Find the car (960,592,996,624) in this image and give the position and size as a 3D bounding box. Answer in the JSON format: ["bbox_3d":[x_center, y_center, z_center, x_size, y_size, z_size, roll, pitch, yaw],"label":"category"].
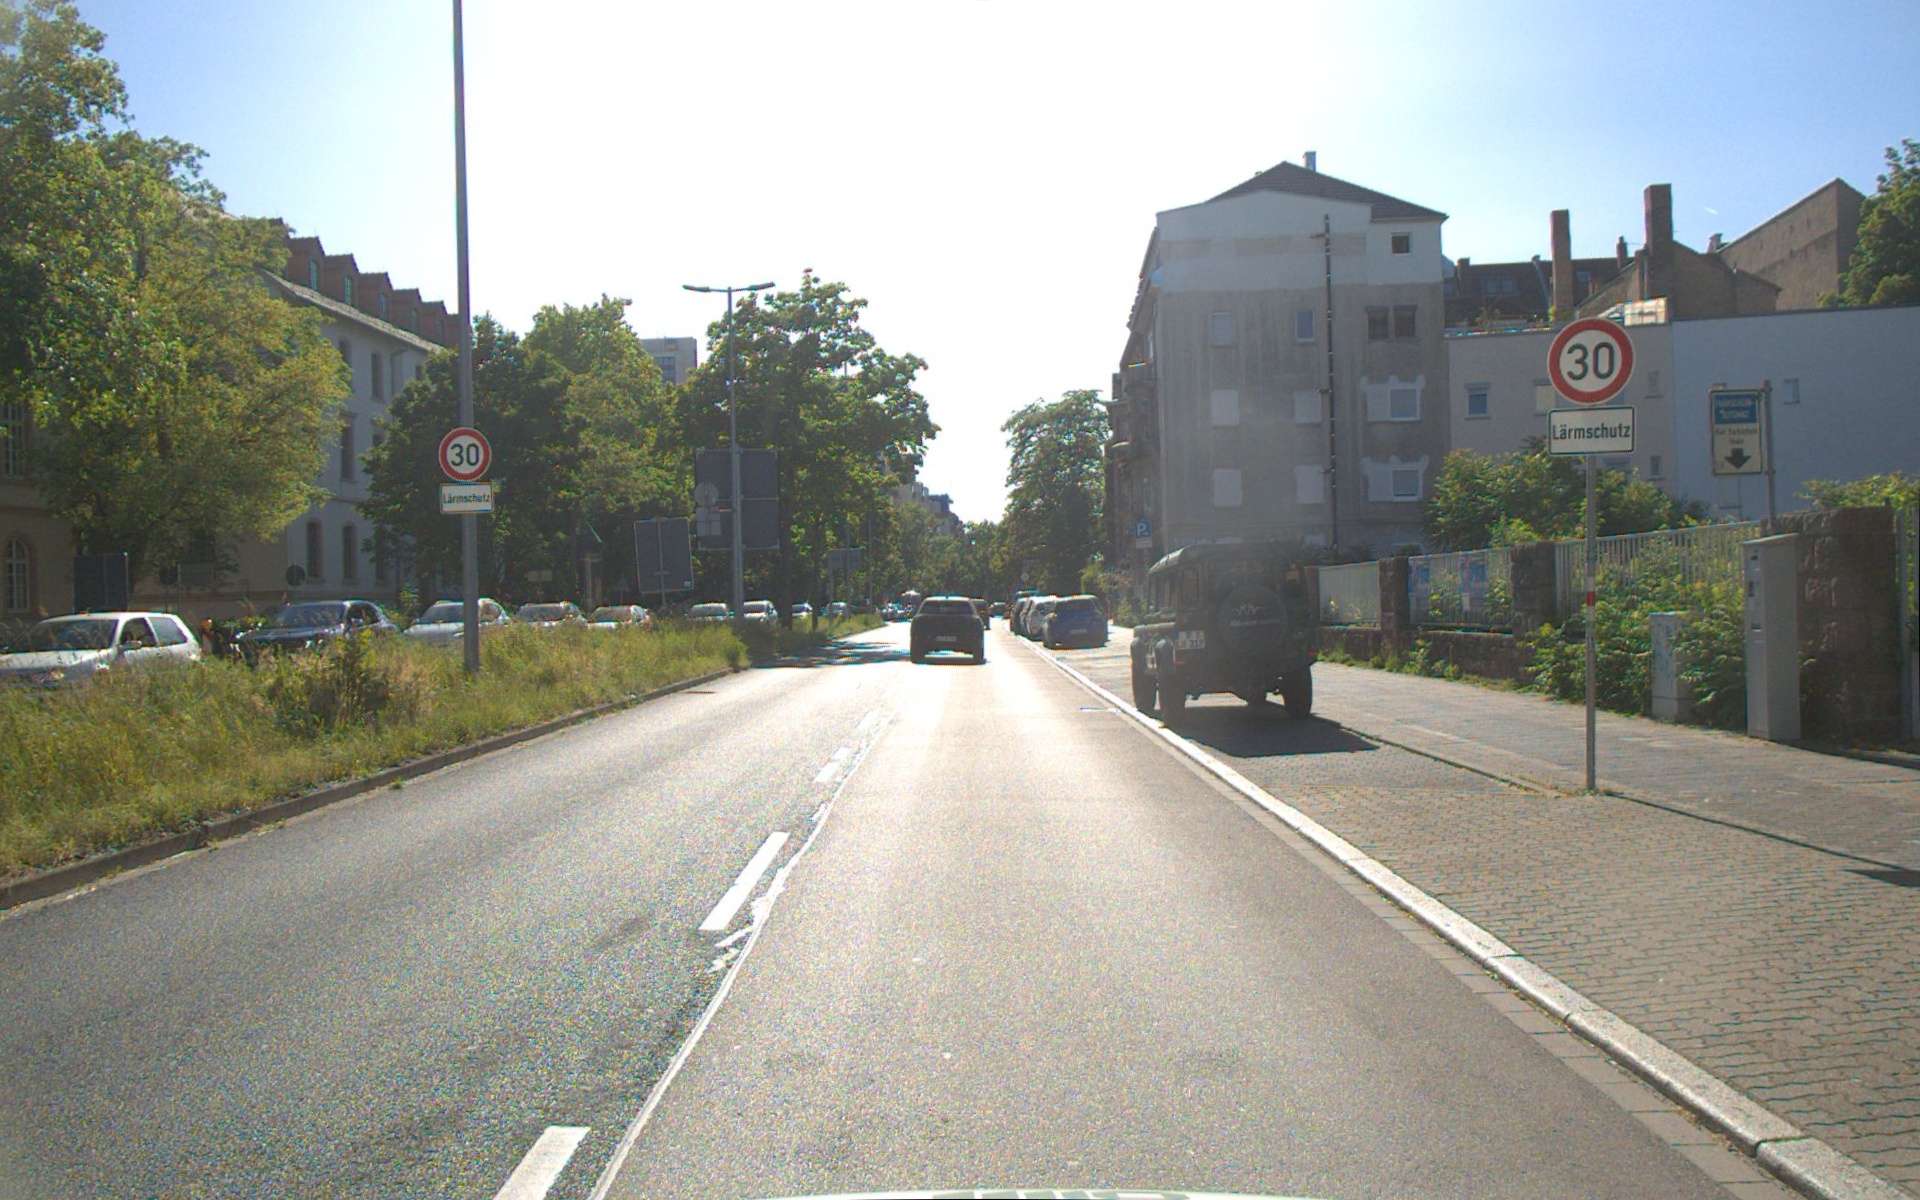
[{"bbox_3d":[0.878,0.384,83.377,1.755,1.547,3.849,0,1,0],"label":"car"}]

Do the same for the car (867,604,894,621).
[{"bbox_3d":[-7.431,1.166,154.966,1.721,1.545,3.862,-2,0,8],"label":"car"}]

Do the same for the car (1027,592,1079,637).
[{"bbox_3d":[3.370,0.504,60.565,1.576,1.471,3.658,-5,0,-1],"label":"car"}]

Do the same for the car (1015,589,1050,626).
[{"bbox_3d":[3.973,0.390,90.533,1.781,1.876,4.366,-2,0,3],"label":"car"}]

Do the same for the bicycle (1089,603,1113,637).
[{"bbox_3d":[5.374,0.752,63.044,0.725,1.240,1.960,-4,0,2],"label":"bicycle"}]

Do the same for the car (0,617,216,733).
[{"bbox_3d":[-12.063,0.969,22.741,1.759,1.375,4.257,-1,0,-1],"label":"car"}]

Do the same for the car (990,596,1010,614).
[{"bbox_3d":[4.047,0.483,167.859,1.881,1.668,4.000,-2,0,0],"label":"car"}]

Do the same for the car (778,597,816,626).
[{"bbox_3d":[-9.390,0.701,95.290,1.759,1.545,4.086,-3,-1,-1],"label":"car"}]

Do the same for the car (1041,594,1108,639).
[{"bbox_3d":[3.506,0.478,51.227,1.634,1.203,3.900,-5,0,-1],"label":"car"}]

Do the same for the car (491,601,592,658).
[{"bbox_3d":[-11.915,0.873,47.341,1.759,1.546,4.258,-1,-2,0],"label":"car"}]

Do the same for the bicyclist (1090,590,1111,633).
[{"bbox_3d":[5.352,0.437,62.911,0.726,1.607,1.101,-1,1,2],"label":"bicyclist"}]

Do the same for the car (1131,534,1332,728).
[{"bbox_3d":[3.225,0.355,20.526,1.626,2.049,4.776,-3,0,0],"label":"car"}]

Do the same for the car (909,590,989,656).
[{"bbox_3d":[-0.314,0.550,41.168,1.856,1.545,3.998,0,0,-2],"label":"car"}]

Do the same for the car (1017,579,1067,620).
[{"bbox_3d":[3.261,-0.036,66.421,1.634,1.545,3.659,-2,0,-3],"label":"car"}]

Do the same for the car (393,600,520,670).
[{"bbox_3d":[-11.997,0.796,39.654,1.759,1.545,4.257,-1,0,-1],"label":"car"}]

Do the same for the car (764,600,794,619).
[{"bbox_3d":[-17.159,0.923,156.891,1.945,1.691,3.978,-2,0,-19],"label":"car"}]

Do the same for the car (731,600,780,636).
[{"bbox_3d":[-10.121,0.859,82.086,1.862,1.654,4.536,-3,0,-1],"label":"car"}]

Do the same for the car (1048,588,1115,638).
[{"bbox_3d":[4.070,0.411,55.919,1.635,1.485,3.983,-5,0,-3],"label":"car"}]

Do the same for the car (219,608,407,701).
[{"bbox_3d":[-11.880,0.949,30.703,1.759,1.545,4.444,-1,0,-1],"label":"car"}]

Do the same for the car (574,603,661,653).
[{"bbox_3d":[-11.356,0.890,55.166,1.801,1.545,4.667,-2,0,1],"label":"car"}]
